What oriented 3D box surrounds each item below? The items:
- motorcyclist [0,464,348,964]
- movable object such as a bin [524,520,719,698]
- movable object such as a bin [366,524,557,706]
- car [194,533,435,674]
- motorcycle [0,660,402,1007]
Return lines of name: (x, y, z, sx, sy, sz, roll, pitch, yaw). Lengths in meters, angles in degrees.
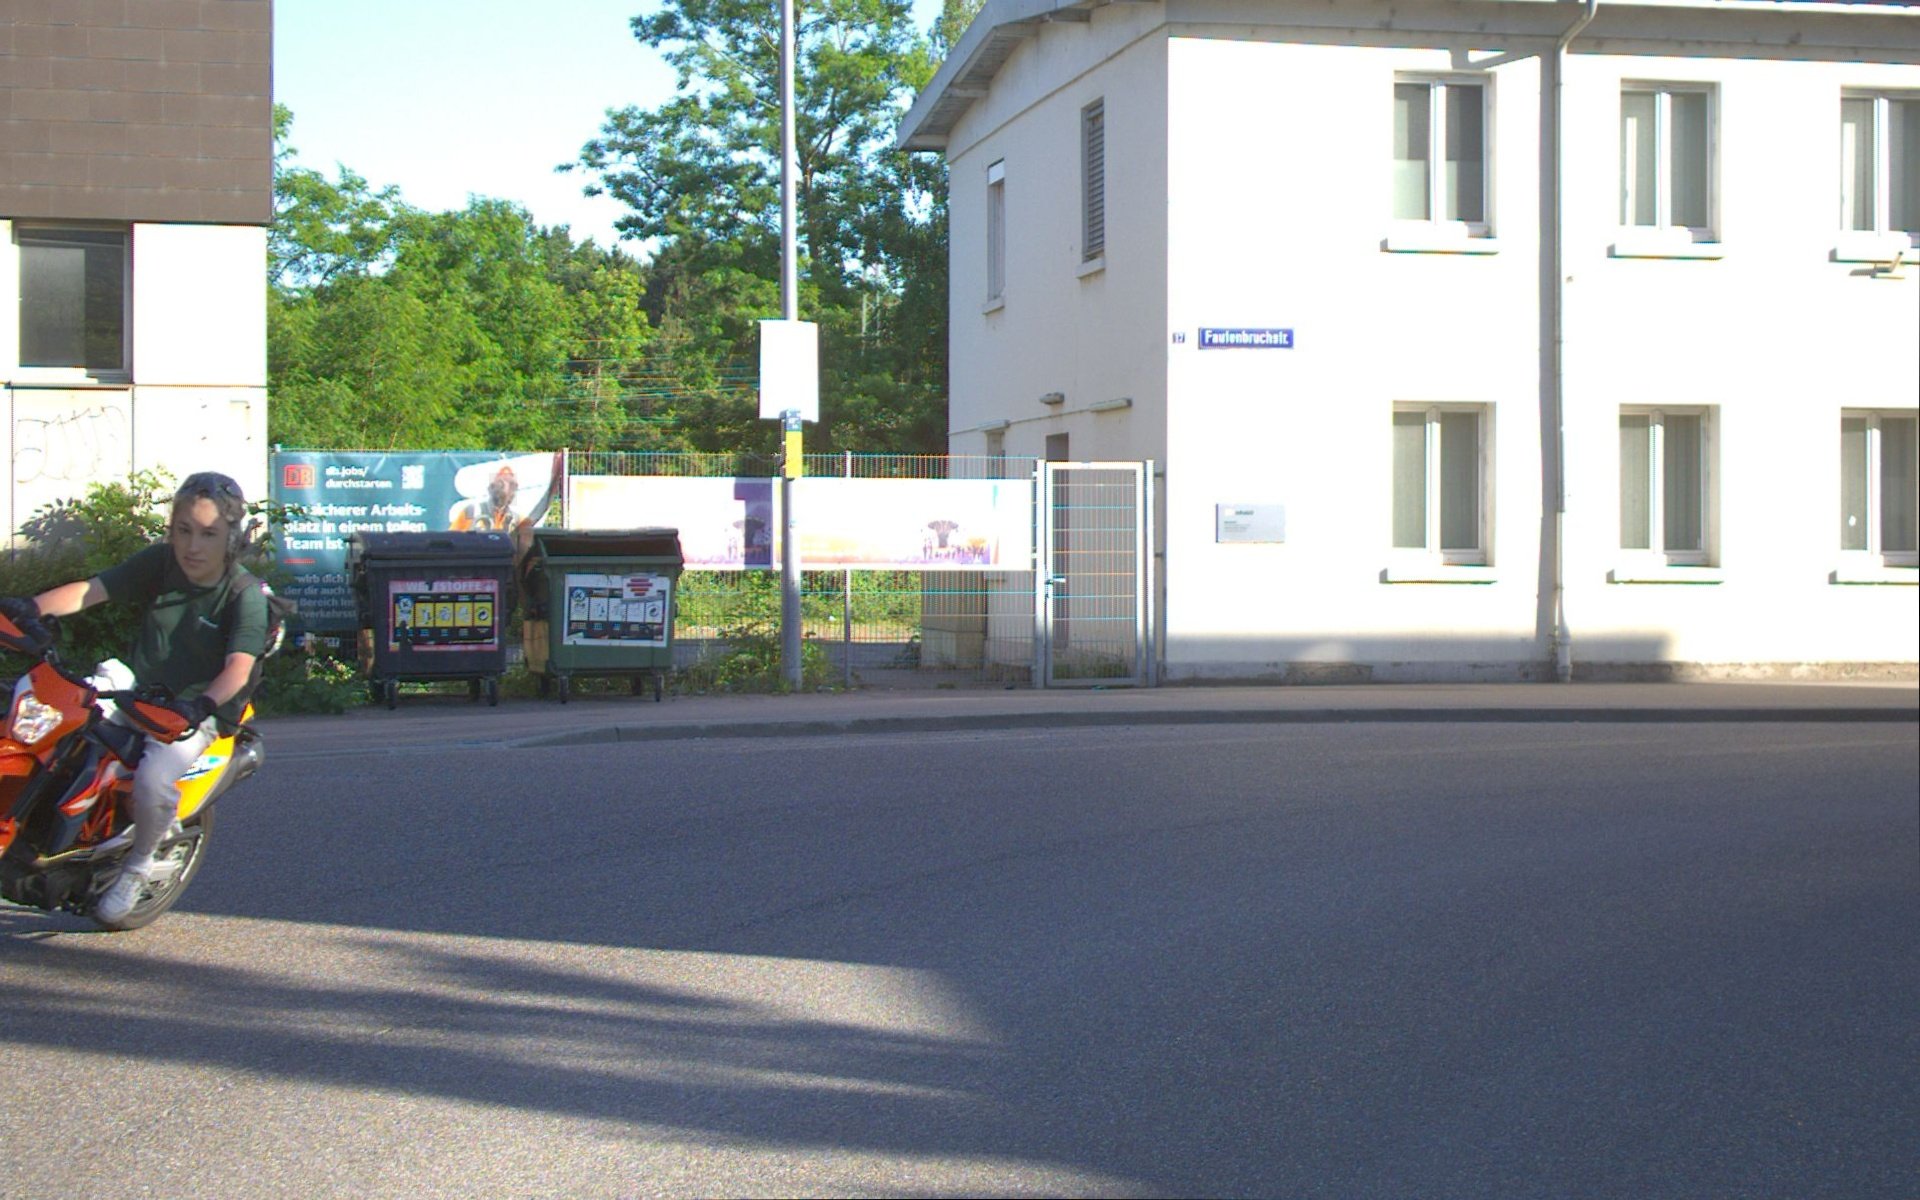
motorcyclist: (-2.776, 0.352, 11.772, 0.864, 1.606, 1.241, 1, 1, 17)
movable object such as a bin: (-2.876, 0.055, 29.103, 1.368, 1.466, 1.203, 0, 1, -22)
movable object such as a bin: (-4.156, 0.102, 28.589, 1.284, 1.466, 1.365, 0, 1, -22)
car: (-7.816, -0.003, 41.358, 1.993, 1.612, 4.001, 0, 1, -24)
motorcycle: (-2.795, 0.737, 11.730, 0.833, 0.968, 2.298, 1, 1, 17)
